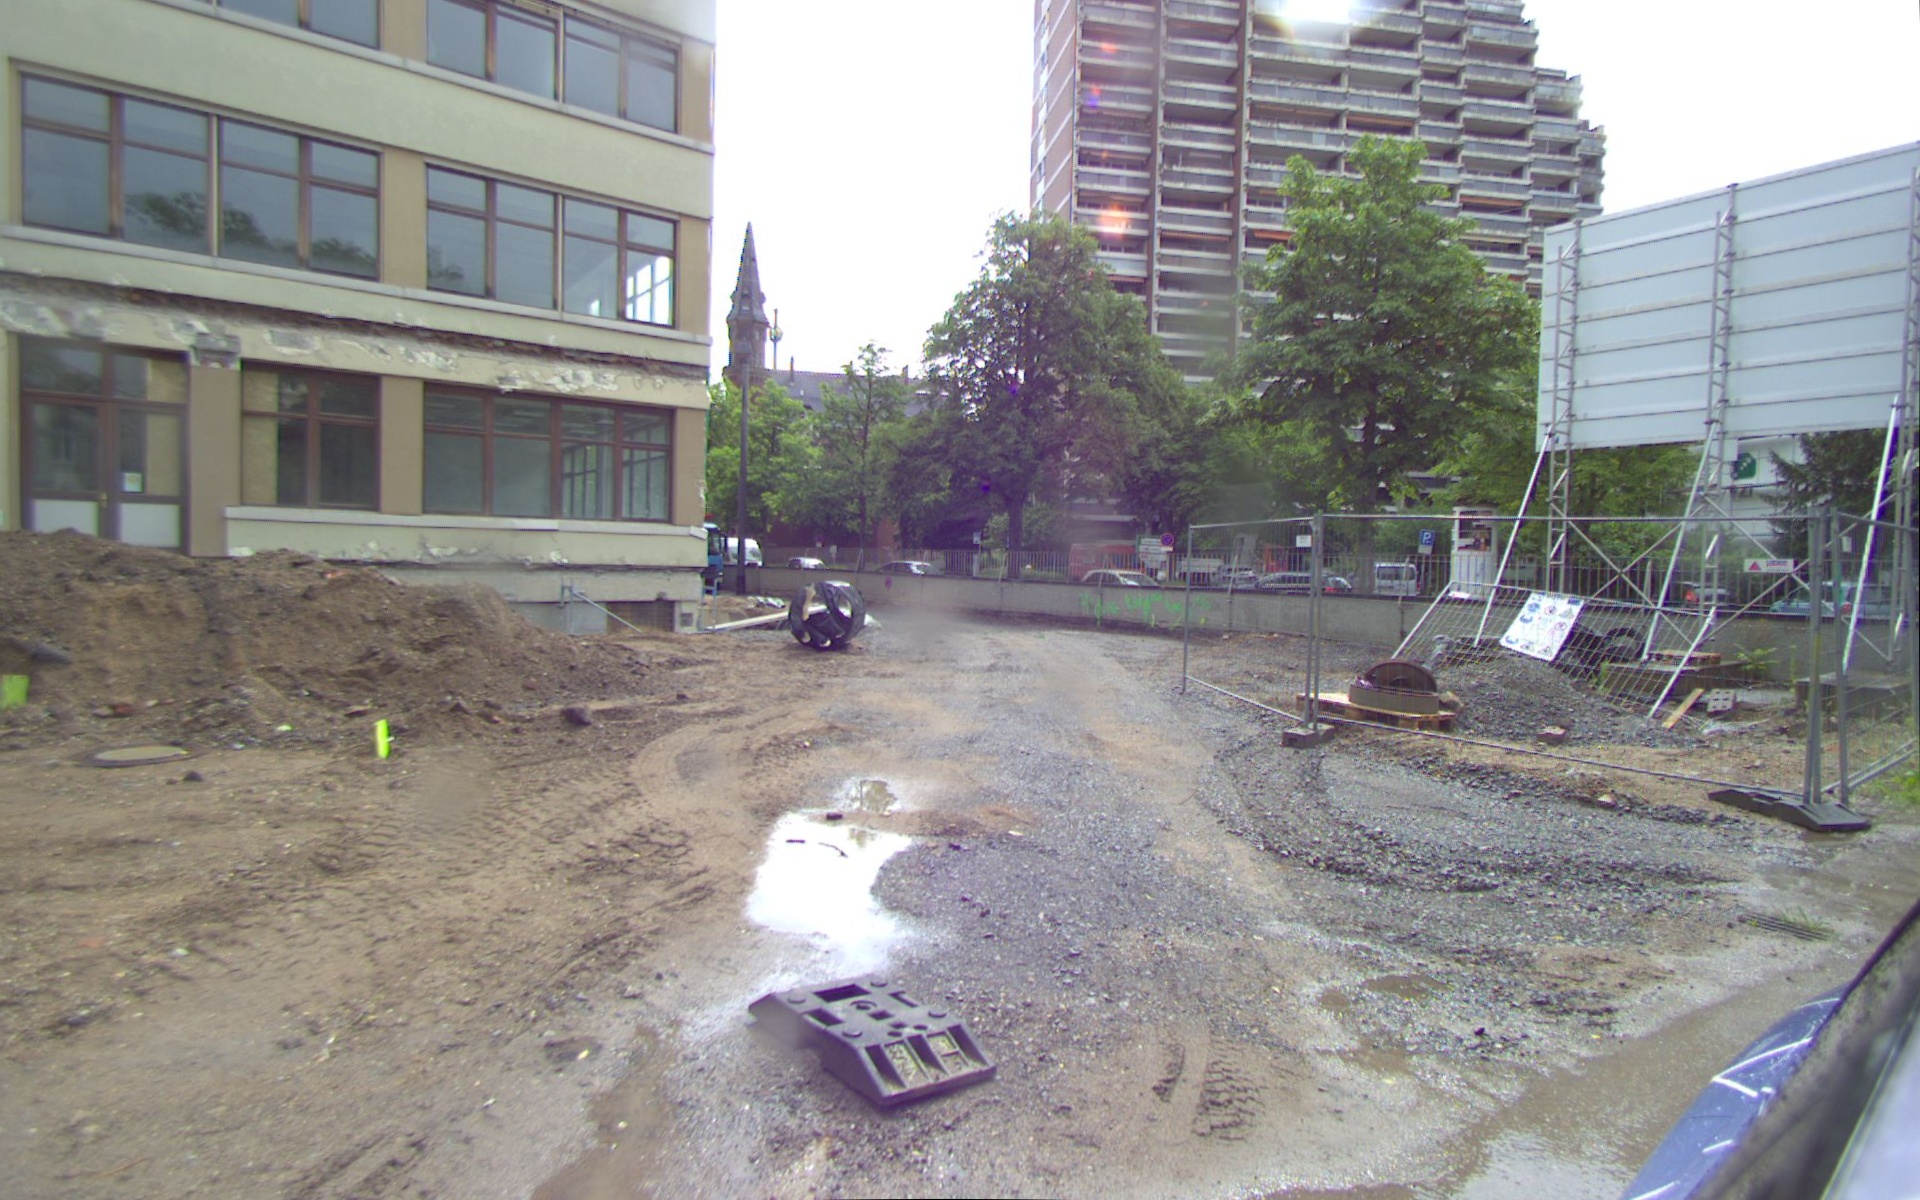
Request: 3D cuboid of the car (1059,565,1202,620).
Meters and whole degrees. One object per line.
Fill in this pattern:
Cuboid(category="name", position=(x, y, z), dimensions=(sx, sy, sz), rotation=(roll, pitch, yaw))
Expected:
Cuboid(category="car", position=(4.970, -0.255, 29.944), dimensions=(1.854, 1.489, 4.001), rotation=(2, 1, -35))

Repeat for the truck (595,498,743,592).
Cuboid(category="truck", position=(-13.120, -2.322, 44.805), dimensions=(3.181, 3.571, 9.913), rotation=(2, 1, -35))

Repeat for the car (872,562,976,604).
Cuboid(category="car", position=(-1.421, -0.670, 38.697), dimensions=(1.857, 1.489, 3.995), rotation=(2, 1, -41))

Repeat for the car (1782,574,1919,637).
Cuboid(category="car", position=(24.871, 0.105, 27.996), dimensions=(1.681, 1.570, 3.640), rotation=(2, 2, 10))

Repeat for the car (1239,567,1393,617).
Cuboid(category="car", position=(12.332, -0.312, 35.349), dimensions=(1.963, 1.499, 4.762), rotation=(2, 1, -37))

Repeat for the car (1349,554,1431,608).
Cuboid(category="car", position=(16.799, -0.785, 39.791), dimensions=(1.907, 1.920, 4.632), rotation=(2, 2, 10))

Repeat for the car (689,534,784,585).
Cuboid(category="car", position=(-12.088, -2.156, 54.292), dimensions=(2.549, 2.505, 6.150), rotation=(2, 0, -38))

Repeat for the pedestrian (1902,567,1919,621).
Cuboid(category="pedestrian", position=(32.033, -0.191, 33.609), dimensions=(0.697, 1.765, 0.836), rotation=(2, 0, 13))

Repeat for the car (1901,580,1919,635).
Cuboid(category="car", position=(26.444, 0.274, 25.850), dimensions=(1.713, 1.487, 3.641), rotation=(2, 2, 9))

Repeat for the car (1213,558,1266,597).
Cuboid(category="car", position=(12.698, -1.075, 46.245), dimensions=(1.756, 1.584, 4.040), rotation=(2, 4, 8))

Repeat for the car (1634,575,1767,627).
Cuboid(category="car", position=(23.005, -0.016, 31.618), dimensions=(1.739, 1.414, 3.644), rotation=(2, 2, 7))

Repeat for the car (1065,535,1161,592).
Cuboid(category="car", position=(7.707, -1.879, 51.539), dimensions=(2.254, 2.666, 5.496), rotation=(2, 2, -22))
